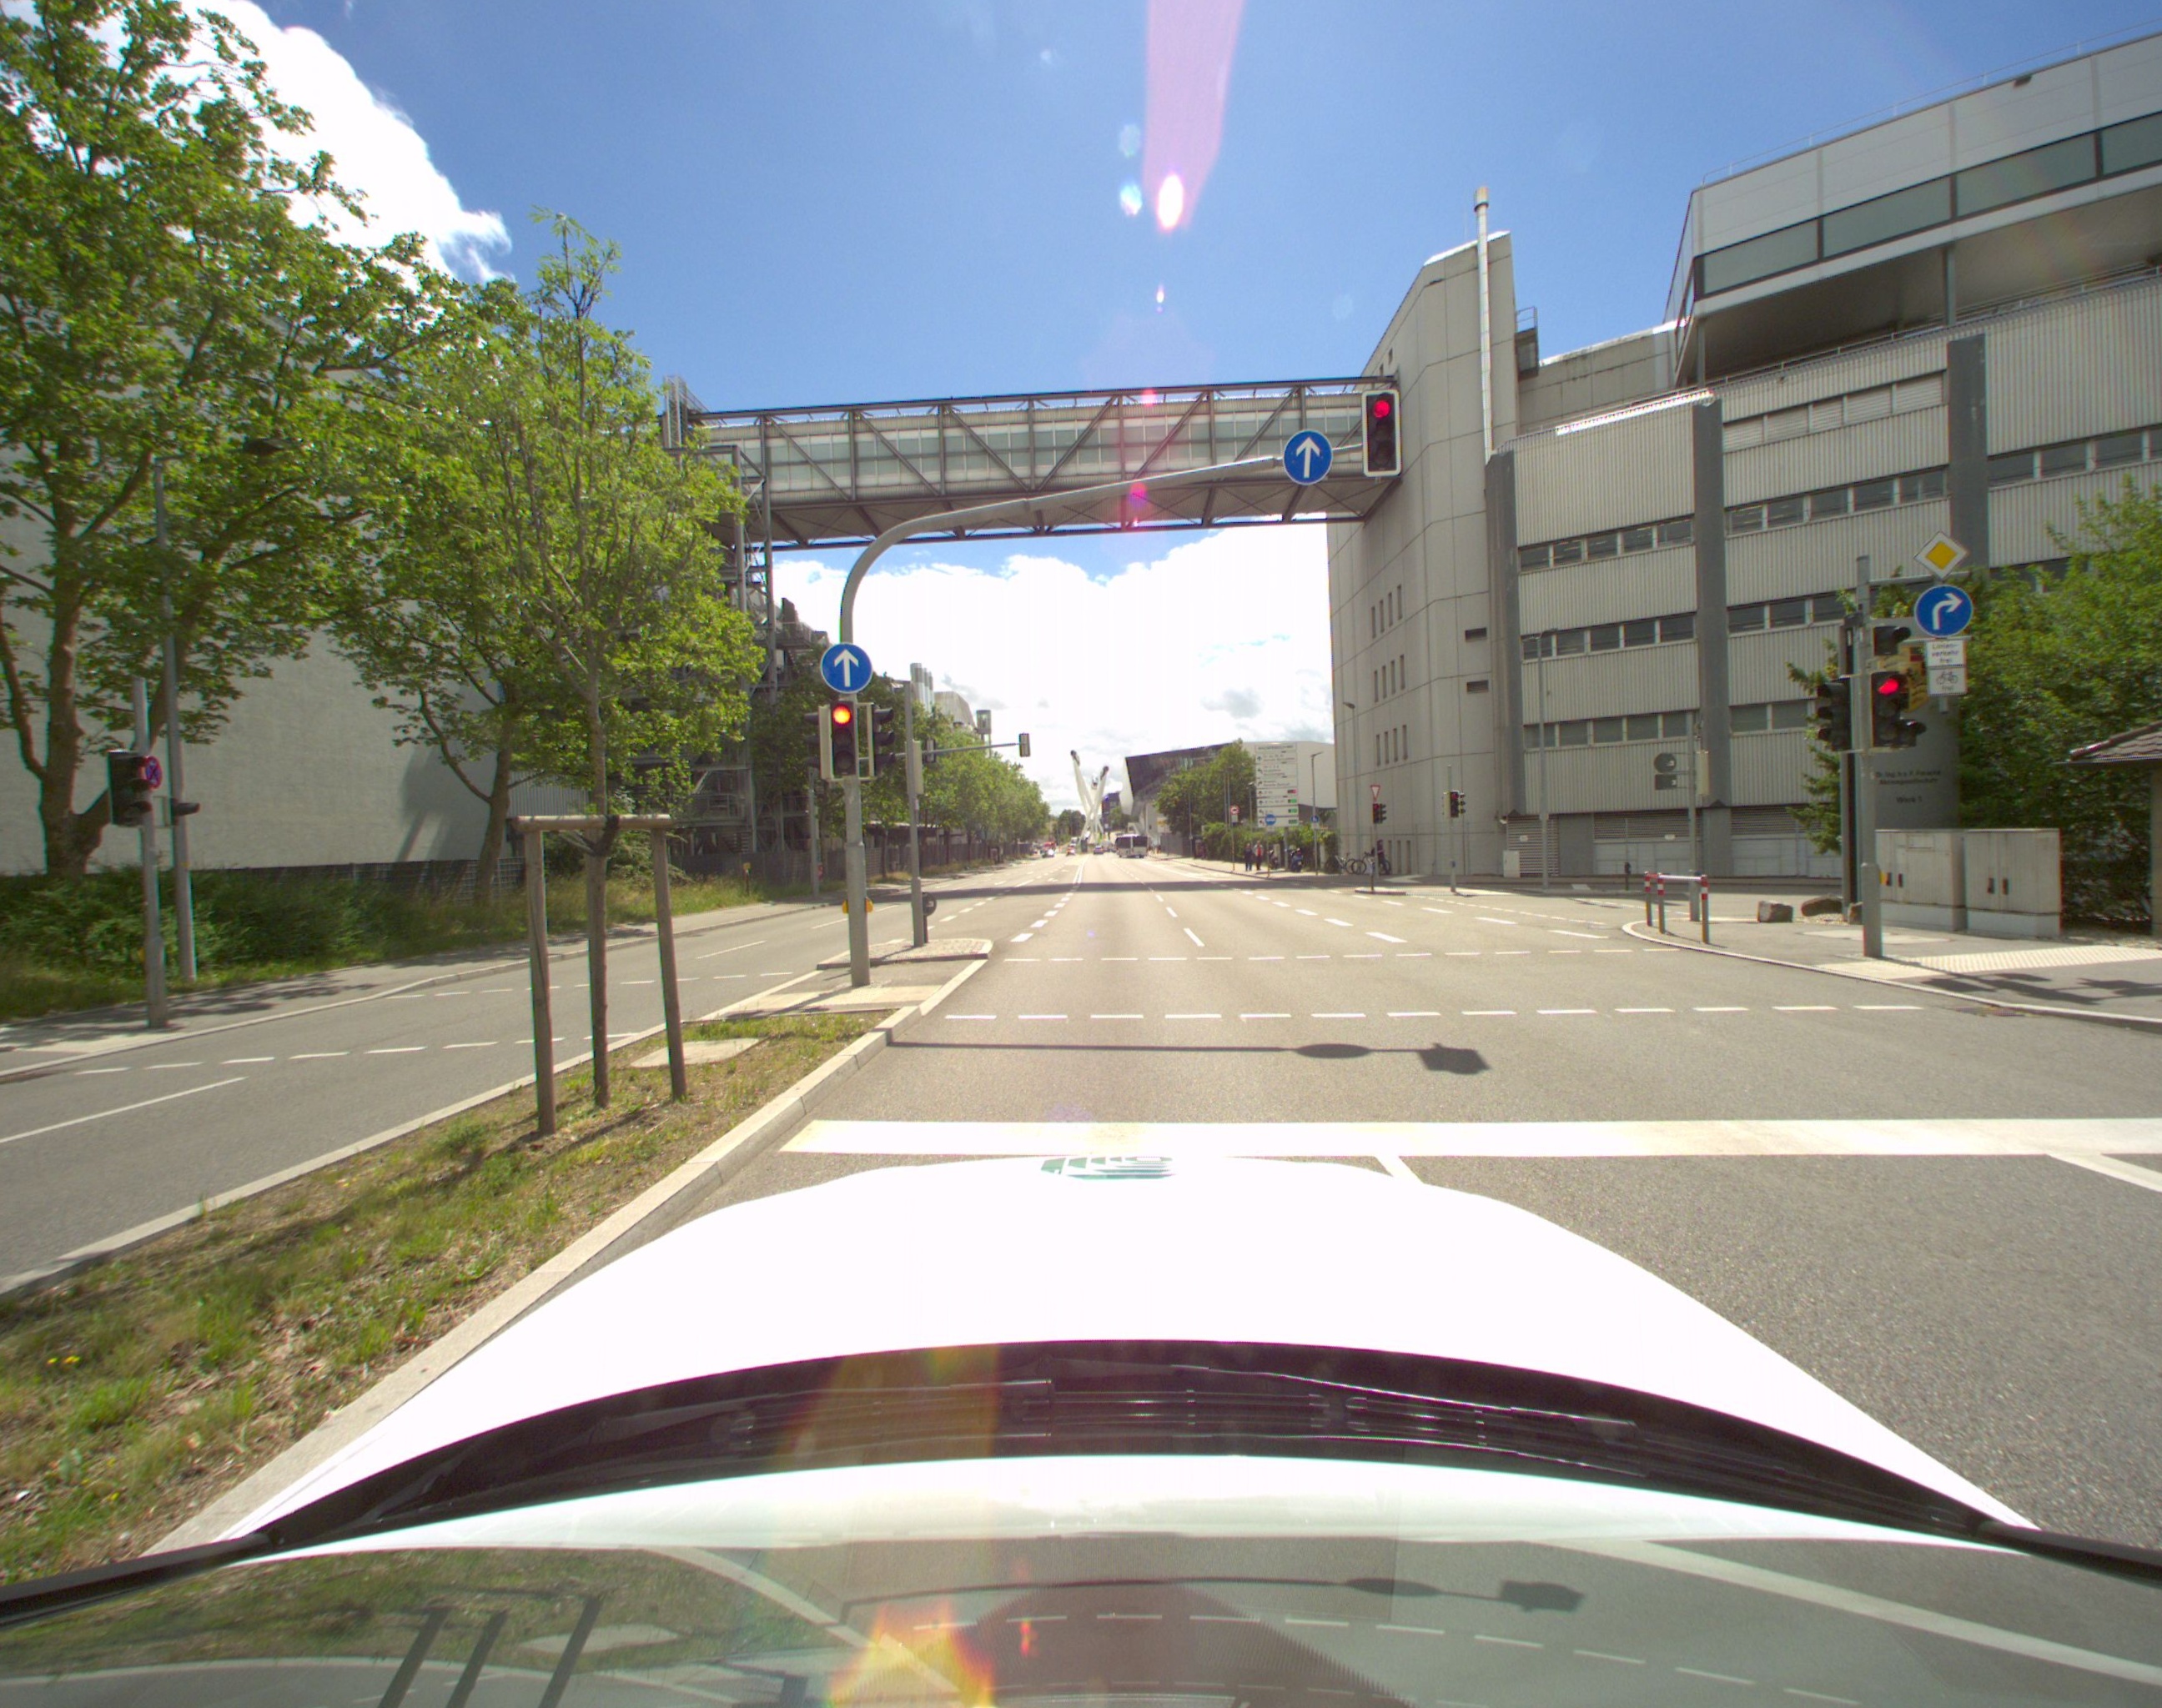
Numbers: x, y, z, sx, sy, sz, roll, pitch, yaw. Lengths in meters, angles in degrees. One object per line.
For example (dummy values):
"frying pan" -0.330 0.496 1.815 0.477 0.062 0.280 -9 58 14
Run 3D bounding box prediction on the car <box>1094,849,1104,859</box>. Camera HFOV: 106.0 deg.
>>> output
"car" 3.325 -0.063 148.870 1.732 1.741 3.693 -1 0 2

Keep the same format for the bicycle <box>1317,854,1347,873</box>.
"bicycle" 12.548 0.457 40.806 0.398 0.937 1.917 -1 0 -17

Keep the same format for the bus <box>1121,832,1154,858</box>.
"bus" 8.145 -1.297 118.671 3.445 3.543 10.594 -1 0 -3

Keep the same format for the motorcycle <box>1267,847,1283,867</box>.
"motorcycle" 12.539 0.203 52.598 0.572 1.203 2.025 -3 1 2

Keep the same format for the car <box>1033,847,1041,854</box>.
"car" -10.891 -0.803 201.091 1.813 1.537 3.678 -3 0 0

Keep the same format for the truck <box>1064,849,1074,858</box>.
"truck" -2.237 -0.052 147.338 1.580 1.537 3.673 -1 0 -4

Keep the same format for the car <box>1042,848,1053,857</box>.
"car" -5.914 -0.287 143.746 1.813 1.537 3.678 -3 0 0

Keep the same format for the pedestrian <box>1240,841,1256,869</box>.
"pedestrian" 10.468 0.082 51.068 0.817 1.707 0.881 -1 0 1

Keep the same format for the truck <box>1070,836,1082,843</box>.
"truck" -1.489 -4.258 241.500 1.744 2.013 4.469 -1 0 24

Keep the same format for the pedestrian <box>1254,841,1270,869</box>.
"pedestrian" 11.319 0.058 50.981 0.817 1.741 0.637 -1 0 1

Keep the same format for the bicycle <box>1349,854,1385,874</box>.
"bicycle" 13.492 0.457 38.494 0.399 0.937 1.913 -1 0 -24

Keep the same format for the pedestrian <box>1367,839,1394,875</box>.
"pedestrian" 13.756 0.147 37.444 0.839 1.624 0.962 -1 0 43

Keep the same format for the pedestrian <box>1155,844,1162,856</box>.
"pedestrian" 13.194 -0.678 138.672 1.026 2.014 0.884 0 -1 -2

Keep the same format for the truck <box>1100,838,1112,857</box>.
"truck" 5.327 -1.362 172.254 2.383 3.897 6.180 -1 0 2

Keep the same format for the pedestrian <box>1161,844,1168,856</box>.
"pedestrian" 14.244 -0.680 139.001 1.026 2.014 0.884 0 -1 -2

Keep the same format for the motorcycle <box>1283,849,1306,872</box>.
"motorcycle" 11.716 0.329 44.752 0.703 1.203 2.025 -3 1 2

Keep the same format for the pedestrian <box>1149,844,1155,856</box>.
"pedestrian" 12.093 -0.710 138.704 1.026 2.014 0.884 0 -1 -2

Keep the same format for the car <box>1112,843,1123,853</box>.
"car" 7.432 -1.254 165.667 1.984 2.014 4.006 -1 -1 6
